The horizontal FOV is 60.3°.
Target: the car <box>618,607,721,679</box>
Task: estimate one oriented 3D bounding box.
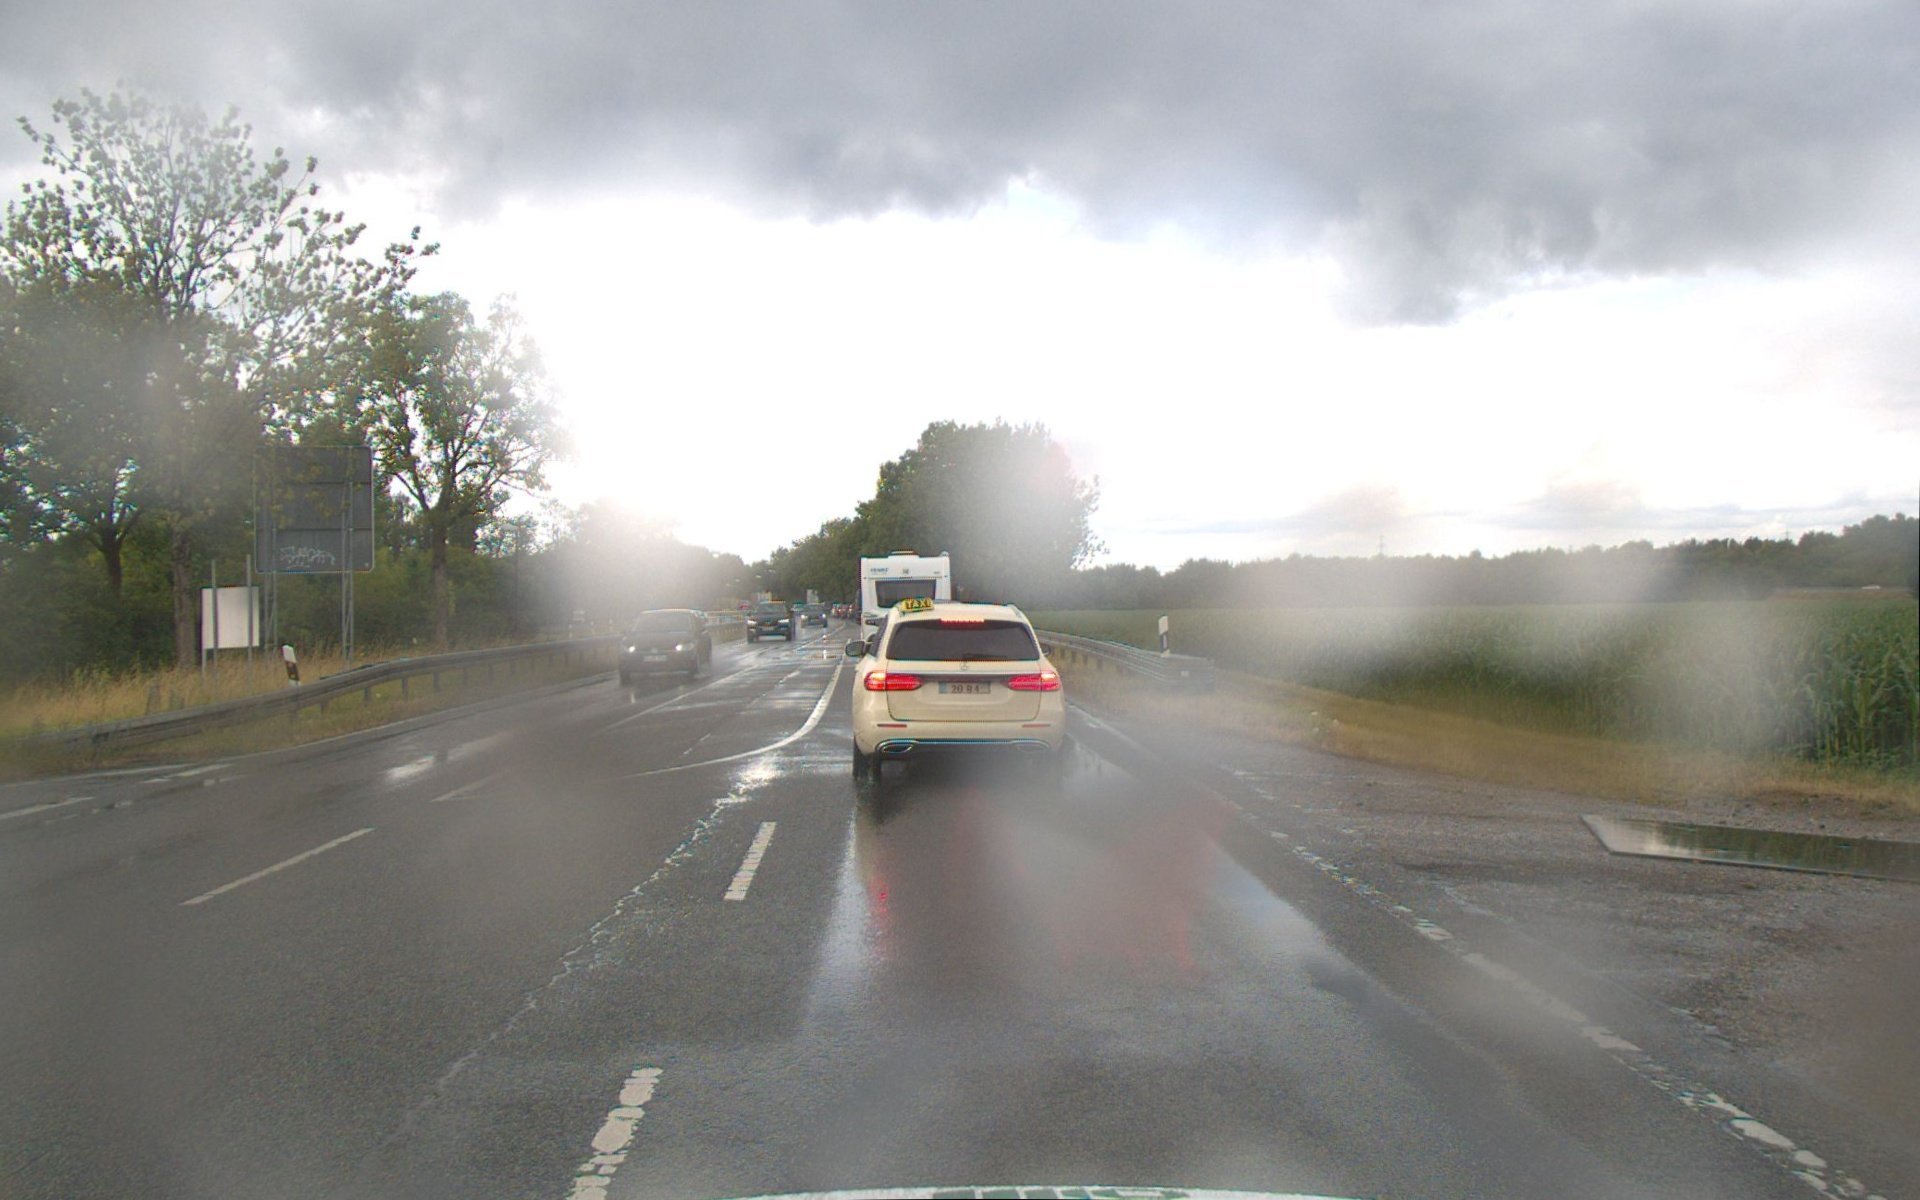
[{"bbox_3d":[-6.383,0.916,36.712,1.677,1.430,3.812,-2,0,-2],"label":"car"}]

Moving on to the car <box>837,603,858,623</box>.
[{"bbox_3d":[-11.655,1.346,171.789,1.956,2.049,3.994,-1,0,-7],"label":"car"}]

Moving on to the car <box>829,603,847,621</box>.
[{"bbox_3d":[-13.630,1.338,184.659,1.954,2.049,3.997,-1,0,-3],"label":"car"}]

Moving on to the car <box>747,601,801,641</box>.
[{"bbox_3d":[-8.004,0.886,71.375,1.905,1.608,4.441,-2,0,-2],"label":"car"}]

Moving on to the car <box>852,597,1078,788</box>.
[{"bbox_3d":[-0.008,0.735,15.178,1.788,1.511,4.144,0,0,-2],"label":"car"}]

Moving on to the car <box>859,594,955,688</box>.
[{"bbox_3d":[-0.992,0.691,30.049,1.595,1.556,3.930,-1,0,-3],"label":"car"}]

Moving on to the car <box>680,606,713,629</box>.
[{"bbox_3d":[-19.925,1.280,125.118,1.953,1.680,3.999,-1,0,-1],"label":"car"}]

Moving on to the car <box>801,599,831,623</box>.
[{"bbox_3d":[-9.876,0.746,113.564,1.733,1.550,4.139,-3,0,-2],"label":"car"}]

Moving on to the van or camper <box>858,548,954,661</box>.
[{"bbox_3d":[-1.453,0.090,43.662,2.303,2.727,5.765,-1,0,-3],"label":"van or camper"}]

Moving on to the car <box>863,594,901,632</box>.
[{"bbox_3d":[-4.705,0.784,100.190,2.201,2.237,5.410,-1,0,-2],"label":"car"}]

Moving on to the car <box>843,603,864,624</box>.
[{"bbox_3d":[-10.508,1.315,163.580,1.955,2.049,3.995,-1,0,-5],"label":"car"}]

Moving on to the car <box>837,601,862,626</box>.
[{"bbox_3d":[-9.562,1.164,143.330,1.955,2.049,3.994,-1,0,-7],"label":"car"}]

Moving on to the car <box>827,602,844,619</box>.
[{"bbox_3d":[-15.160,1.265,201.664,1.955,2.049,3.995,-1,0,-6],"label":"car"}]

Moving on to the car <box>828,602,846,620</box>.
[{"bbox_3d":[-14.202,1.265,191.112,1.954,2.087,3.997,-1,0,-4],"label":"car"}]
